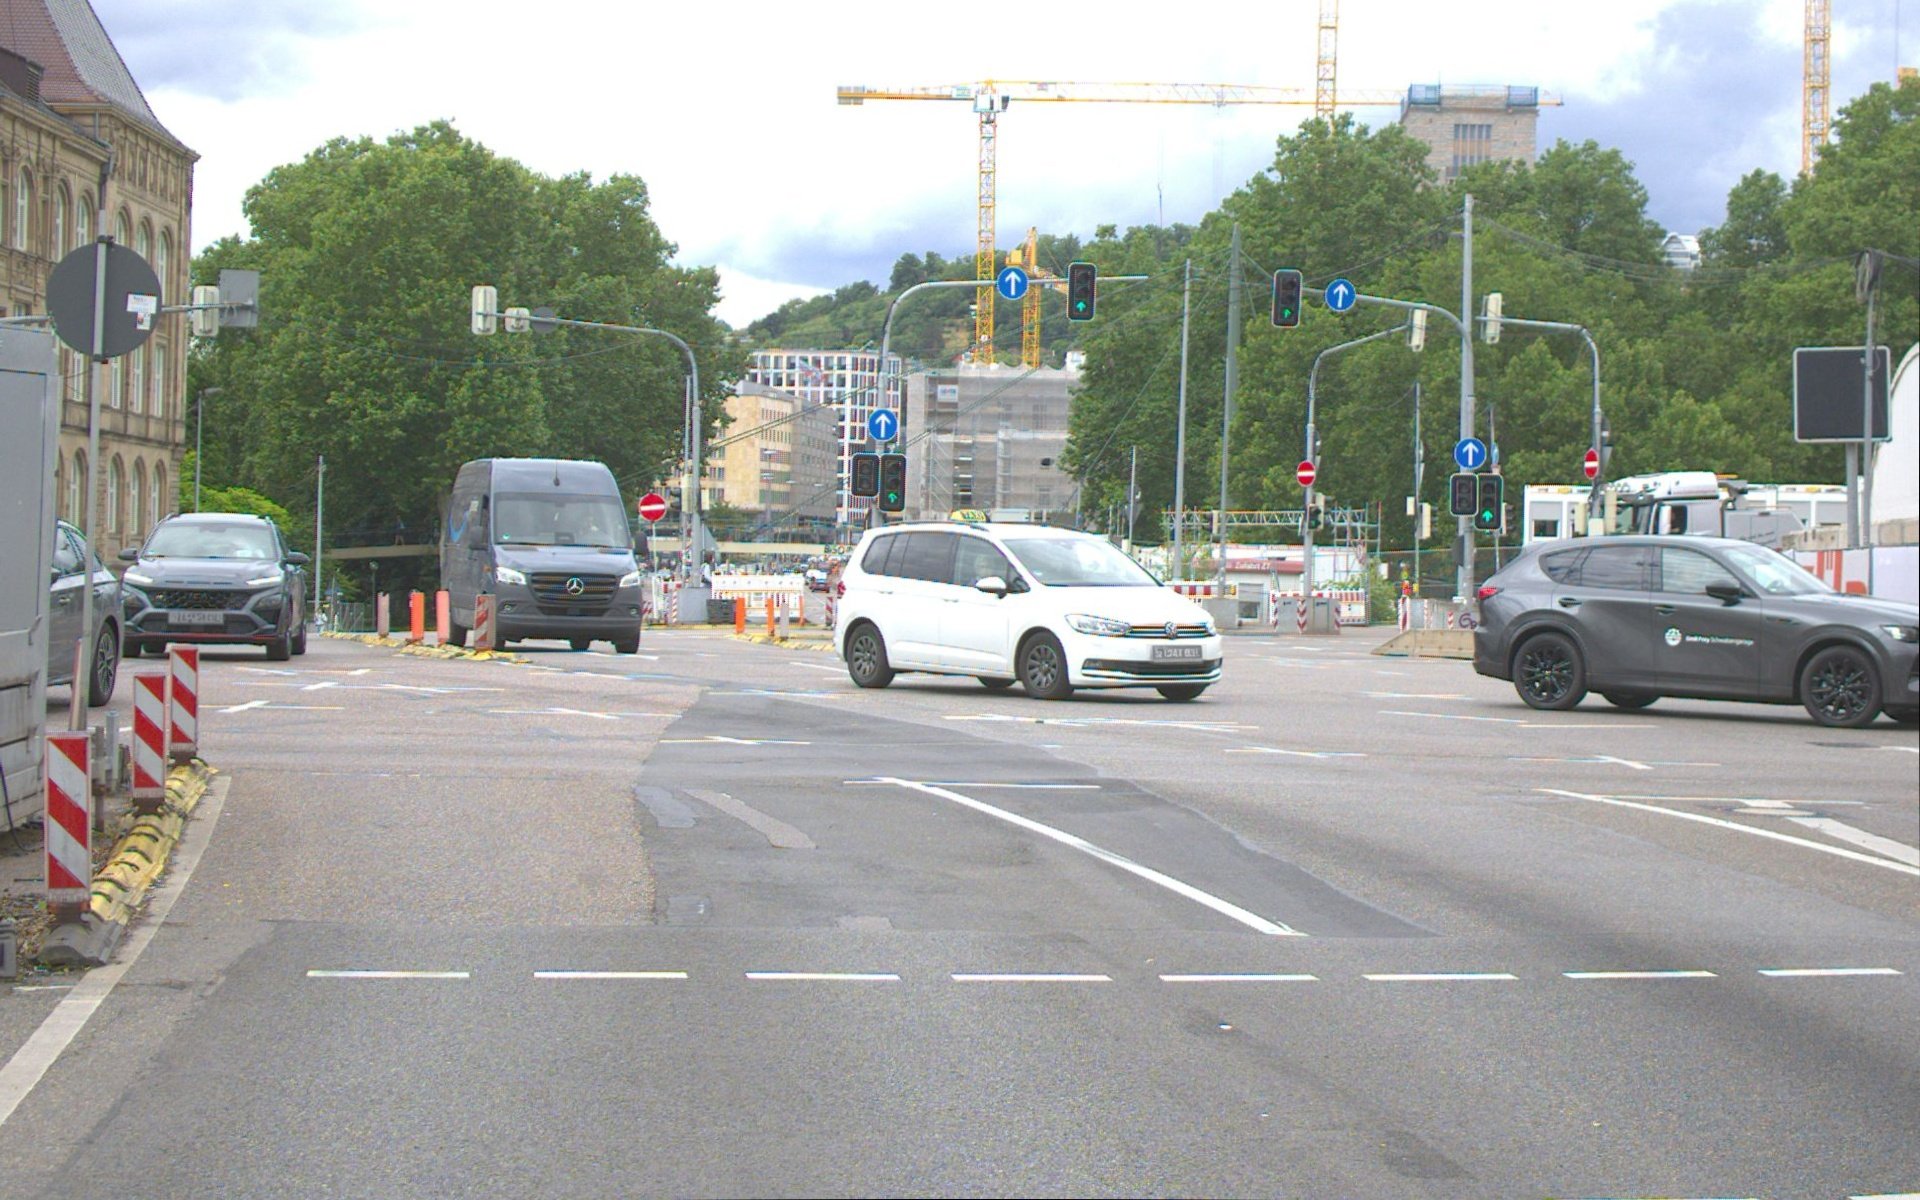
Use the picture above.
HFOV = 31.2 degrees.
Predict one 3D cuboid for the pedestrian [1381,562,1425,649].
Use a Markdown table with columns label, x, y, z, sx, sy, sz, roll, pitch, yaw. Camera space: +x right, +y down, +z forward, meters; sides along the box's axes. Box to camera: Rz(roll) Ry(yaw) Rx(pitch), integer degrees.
| label | x | y | z | sx | sy | sz | roll | pitch | yaw |
| --- | --- | --- | --- | --- | --- | --- | --- | --- | --- |
| pedestrian | 8.800 | 0.104 | 68.360 | 0.729 | 1.683 | 0.678 | 2 | 1 | -1 |

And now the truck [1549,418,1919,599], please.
| label | x | y | z | sx | sy | sz | roll | pitch | yaw |
| --- | --- | --- | --- | --- | --- | --- | --- | --- | --- |
| truck | 20.977 | -2.115 | 82.922 | 13.022 | 4.027 | 3.952 | 1 | 1 | -20 |

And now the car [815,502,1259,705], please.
| label | x | y | z | sx | sy | sz | roll | pitch | yaw |
| --- | --- | --- | --- | --- | --- | --- | --- | --- | --- |
| car | 0.648 | -0.015 | 32.605 | 1.878 | 1.730 | 4.444 | 1 | 2 | -36 |

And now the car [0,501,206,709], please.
| label | x | y | z | sx | sy | sz | roll | pitch | yaw |
| --- | --- | --- | --- | --- | --- | --- | --- | --- | --- |
| car | -7.300 | -0.031 | 26.981 | 1.878 | 1.467 | 4.445 | 1 | 1 | -2 |

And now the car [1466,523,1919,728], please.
| label | x | y | z | sx | sy | sz | roll | pitch | yaw |
| --- | --- | --- | --- | --- | --- | --- | --- | --- | --- |
| car | 7.171 | 0.190 | 31.641 | 4.605 | 1.664 | 1.880 | 3 | 2 | 38 |

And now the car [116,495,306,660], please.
| label | x | y | z | sx | sy | sz | roll | pitch | yaw |
| --- | --- | --- | --- | --- | --- | --- | --- | --- | --- |
| car | -8.204 | -0.292 | 37.617 | 1.877 | 1.664 | 4.446 | 1 | 1 | -13 |

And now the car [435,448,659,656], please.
| label | x | y | z | sx | sy | sz | roll | pitch | yaw |
| --- | --- | --- | --- | --- | --- | --- | --- | --- | --- |
| car | -5.639 | -0.678 | 46.195 | 2.056 | 2.585 | 6.016 | 1 | 1 | -15 |
